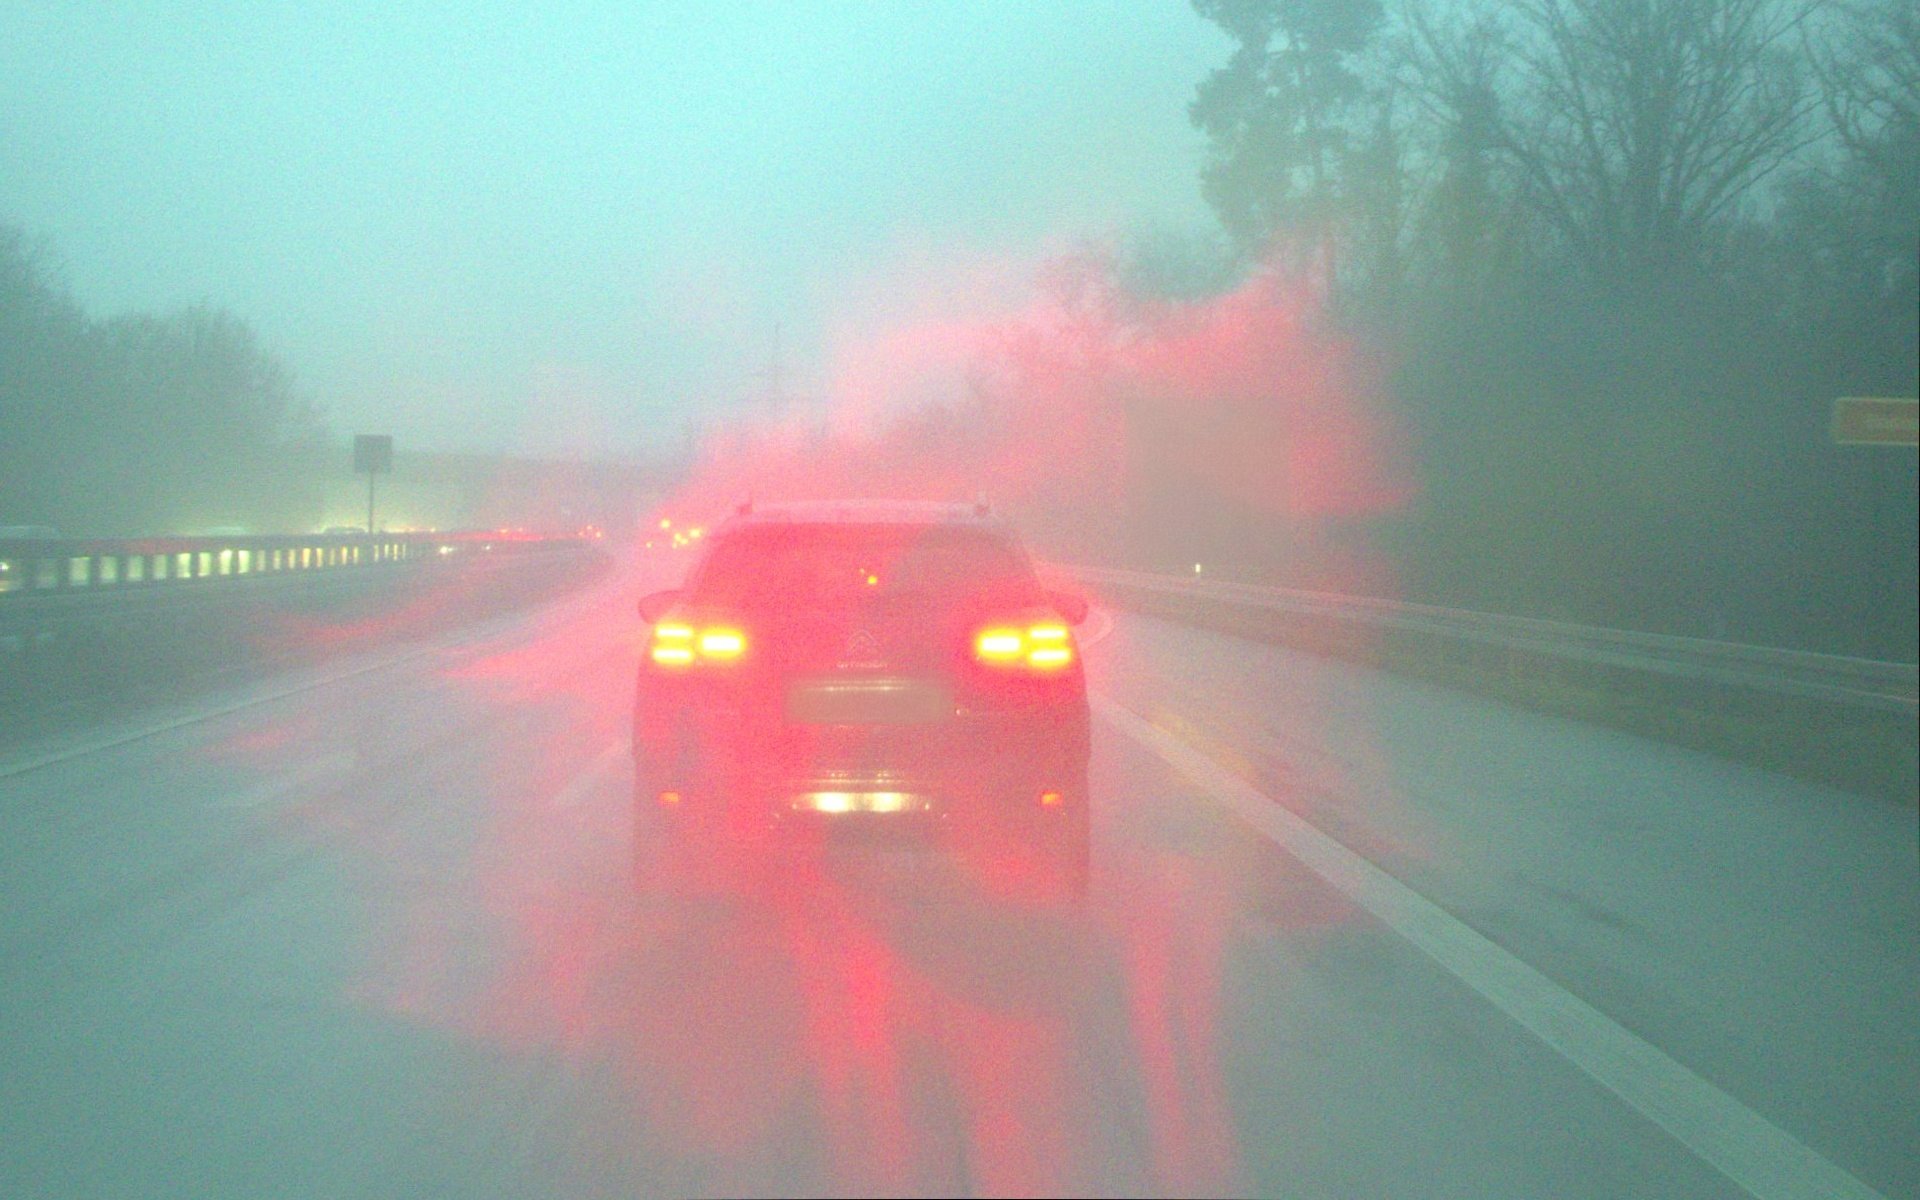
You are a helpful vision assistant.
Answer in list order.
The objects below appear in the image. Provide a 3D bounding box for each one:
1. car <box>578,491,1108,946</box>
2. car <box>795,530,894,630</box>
[{"bbox_3d":[-0.532,0.420,14.959,1.992,1.709,3.830,1,1,-3],"label":"car"},{"bbox_3d":[-2.428,-0.435,71.500,1.993,2.007,4.001,1,1,-3],"label":"car"}]
